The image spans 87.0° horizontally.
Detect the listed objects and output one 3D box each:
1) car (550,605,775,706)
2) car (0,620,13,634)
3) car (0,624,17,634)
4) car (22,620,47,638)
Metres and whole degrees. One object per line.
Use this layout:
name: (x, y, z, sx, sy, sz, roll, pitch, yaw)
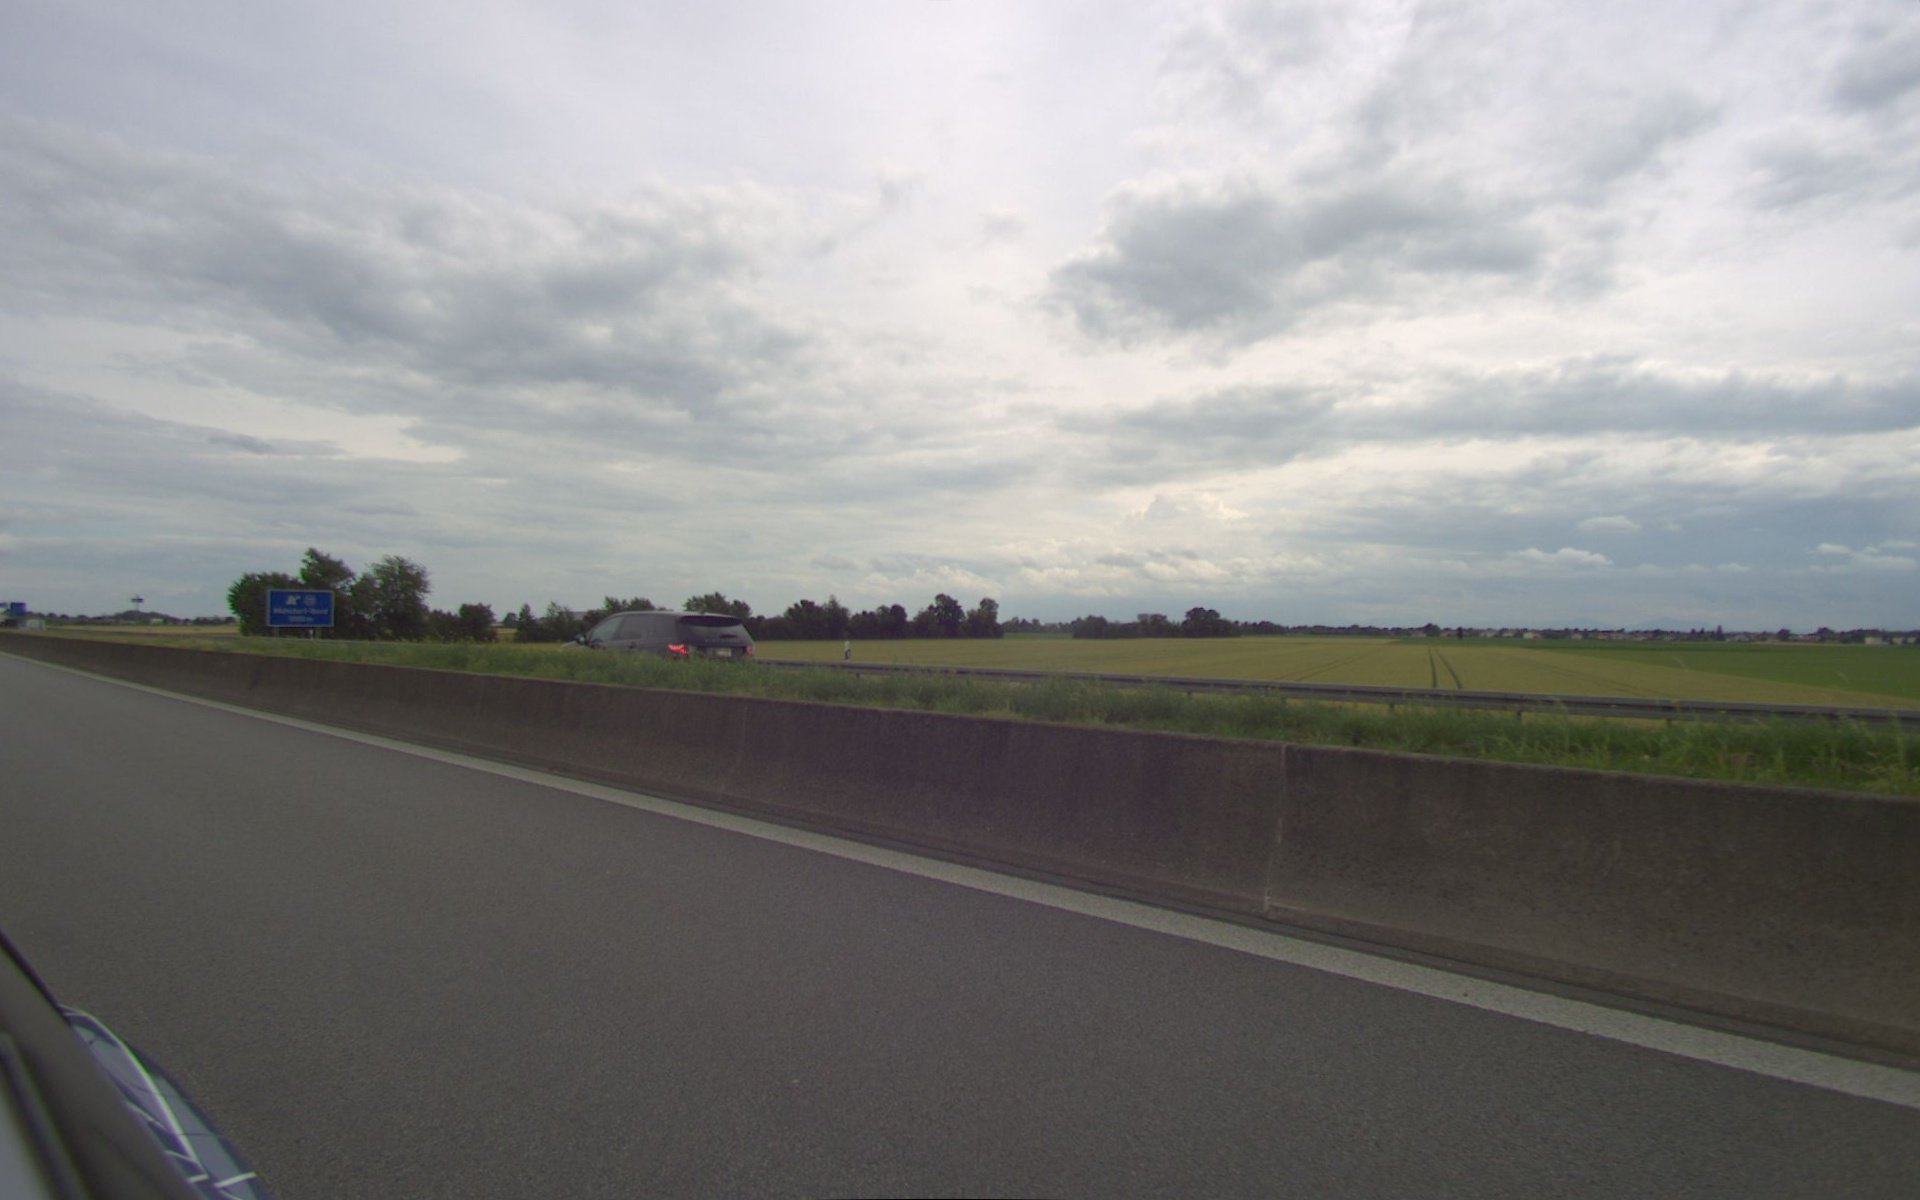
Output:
car: (-5.109, 0.867, 17.098, 4.181, 1.503, 1.671, -1, -2, 41)
car: (-119.305, 3.343, 125.979, 4.181, 1.639, 1.671, -1, -2, 41)
car: (-151.317, 4.602, 160.851, 4.181, 1.503, 1.671, -1, -2, 41)
car: (-116.203, 3.641, 127.018, 4.907, 2.125, 2.008, -1, -2, 44)
